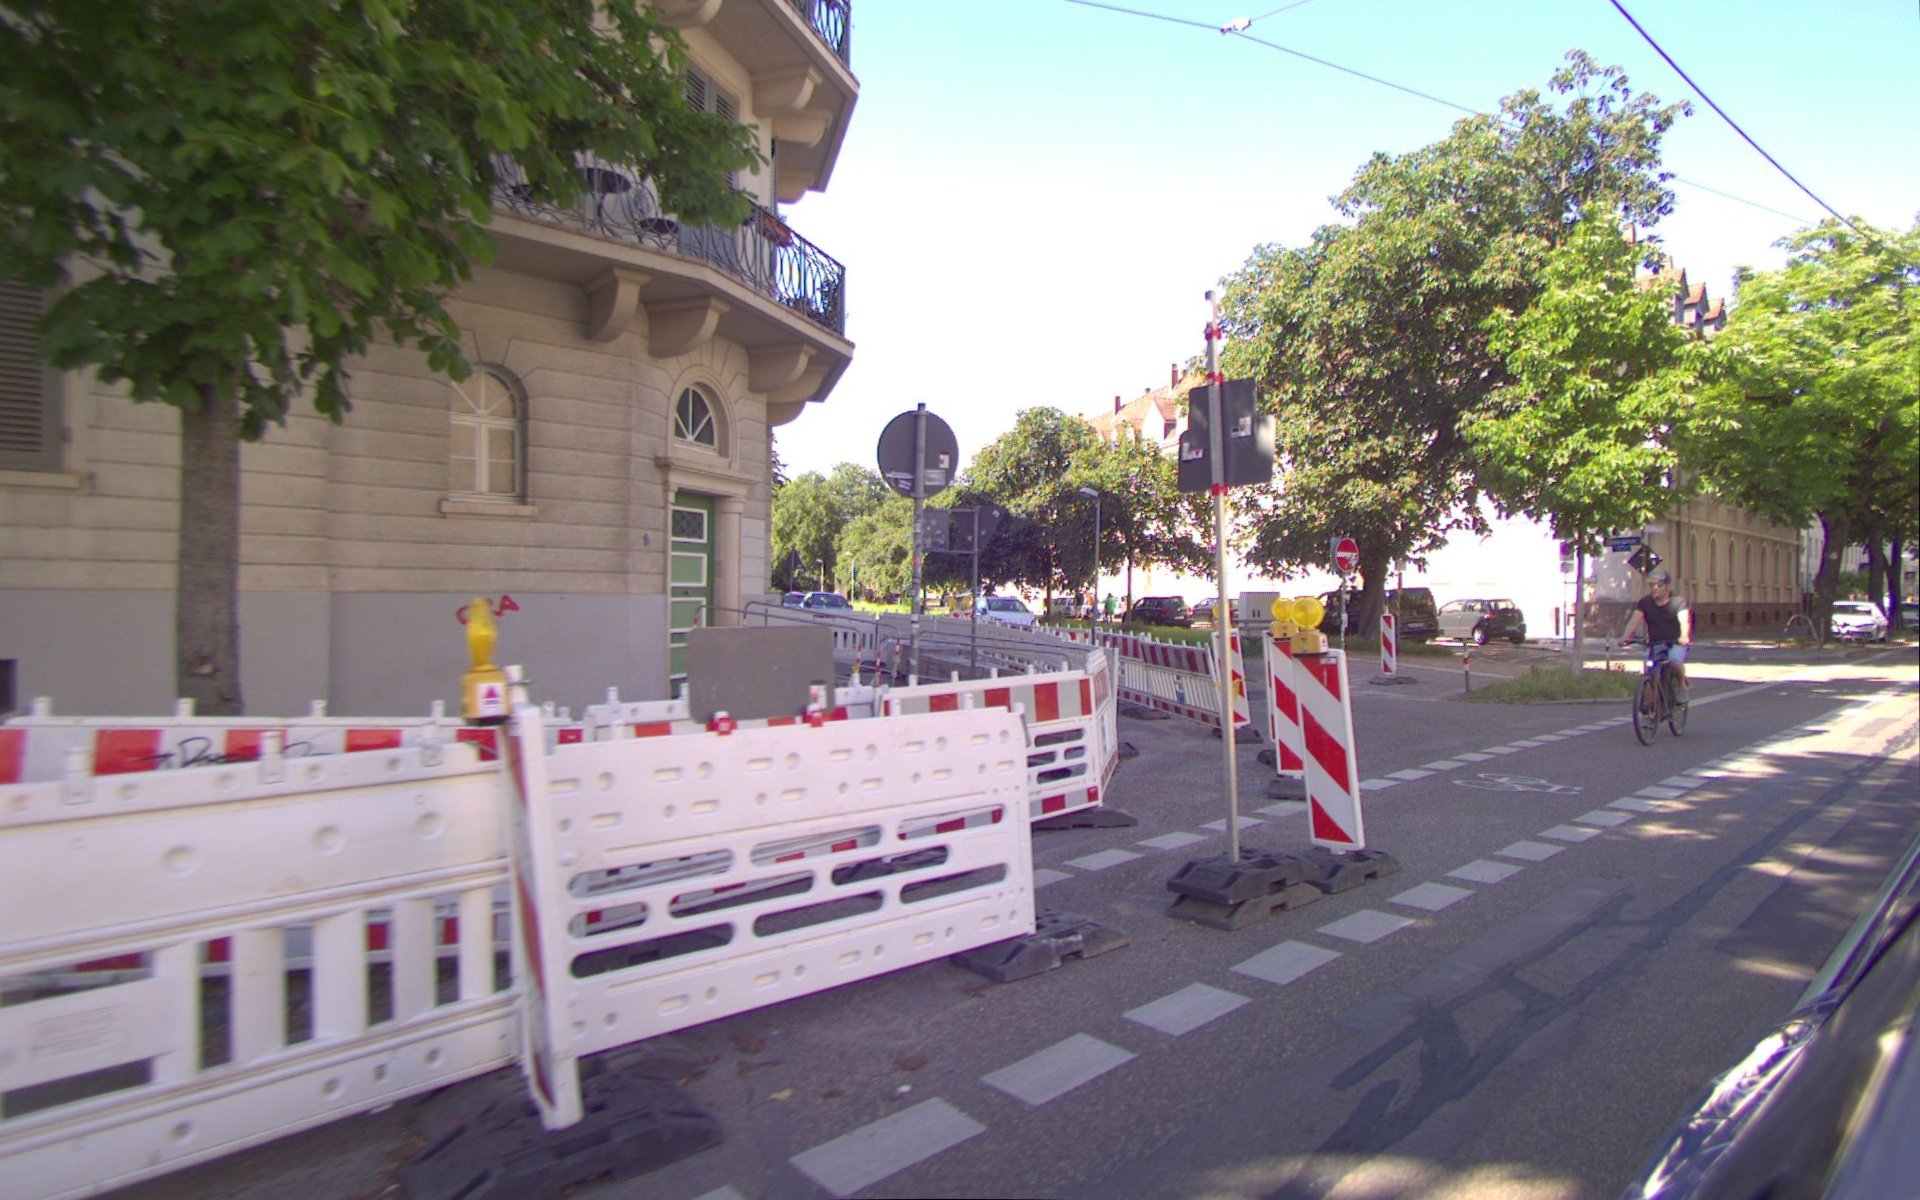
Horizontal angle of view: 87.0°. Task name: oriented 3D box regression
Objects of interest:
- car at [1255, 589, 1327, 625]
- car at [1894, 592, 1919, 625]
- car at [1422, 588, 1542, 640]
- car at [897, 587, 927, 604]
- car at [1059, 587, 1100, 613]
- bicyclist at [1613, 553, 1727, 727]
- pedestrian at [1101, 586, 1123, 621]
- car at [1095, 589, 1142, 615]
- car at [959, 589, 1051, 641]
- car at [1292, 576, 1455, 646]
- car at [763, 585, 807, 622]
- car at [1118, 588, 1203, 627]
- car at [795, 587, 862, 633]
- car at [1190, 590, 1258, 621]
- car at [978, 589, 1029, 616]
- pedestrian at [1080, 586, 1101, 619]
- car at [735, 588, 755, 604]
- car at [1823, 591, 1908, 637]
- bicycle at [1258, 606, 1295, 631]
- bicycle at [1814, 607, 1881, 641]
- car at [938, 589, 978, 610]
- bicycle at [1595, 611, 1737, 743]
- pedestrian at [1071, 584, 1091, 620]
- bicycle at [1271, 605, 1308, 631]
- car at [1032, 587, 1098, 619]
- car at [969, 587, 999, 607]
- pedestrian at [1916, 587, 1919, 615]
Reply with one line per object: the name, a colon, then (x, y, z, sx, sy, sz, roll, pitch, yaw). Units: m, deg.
car: (14.565, 0.277, 44.705, 1.408, 1.519, 3.509, -1, 1, -13)
car: (45.440, 0.384, 47.657, 4.671, 1.502, 1.821, 0, 2, -44)
car: (17.400, 0.416, 33.924, 1.687, 1.557, 3.447, -3, 1, -13)
car: (-4.864, -0.446, 102.268, 1.958, 1.650, 5.077, -2, 1, -15)
car: (8.240, -0.034, 70.104, 1.605, 1.694, 3.865, -1, 1, -13)
bicyclist: (7.626, 0.400, 10.869, 1.028, 1.761, 0.762, 0, -1, -41)
pedestrian: (7.111, 0.153, 47.395, 0.826, 1.588, 0.575, -1, 0, -17)
car: (9.853, 0.105, 63.104, 1.605, 1.519, 3.644, -1, 1, -13)
car: (1.369, 0.437, 32.369, 1.749, 1.505, 3.981, 3, 0, -15)
car: (12.603, 0.269, 31.297, 1.958, 1.914, 5.077, -2, 1, -15)
car: (-8.693, 0.131, 50.054, 1.749, 1.674, 3.878, 3, 0, -15)
car: (9.017, 0.284, 45.896, 1.895, 1.629, 4.629, -2, 1, -15)
car: (-4.987, 0.338, 37.965, 1.805, 1.566, 3.879, 3, 0, -17)
car: (13.111, 0.237, 50.523, 1.605, 1.434, 3.970, -1, 1, -13)
car: (2.899, 0.125, 68.678, 1.958, 1.650, 5.077, -2, 1, -15)
pedestrian: (6.405, 0.134, 49.734, 0.826, 1.588, 0.575, -1, 0, -17)
car: (-21.680, -0.422, 101.840, 1.749, 1.415, 3.878, 3, 0, -15)
car: (31.983, 0.444, 35.730, 4.140, 1.490, 1.704, 0, 2, -41)
bicycle: (9.968, 0.577, 31.890, 0.410, 0.768, 1.386, 0, 1, -16)
bicycle: (28.239, 0.760, 32.218, 1.564, 0.992, 0.631, 2, 1, 41)
car: (-0.195, -0.072, 81.864, 1.958, 1.650, 5.077, -2, 1, -15)
bicycle: (7.559, 0.754, 10.799, 2.060, 1.258, 0.762, 0, -1, -41)
pedestrian: (6.173, 0.099, 51.721, 0.826, 1.865, 0.575, -1, 0, -17)
bicycle: (10.398, 0.564, 31.966, 0.410, 0.787, 1.386, 0, 1, -16)
car: (5.857, 0.121, 57.030, 1.958, 1.650, 5.077, -2, 1, -15)
car: (2.194, -0.267, 94.009, 1.746, 1.740, 4.051, -3, 1, -13)
pedestrian: (70.916, 0.053, 74.536, 0.740, 2.039, 0.678, 0, 0, 41)
